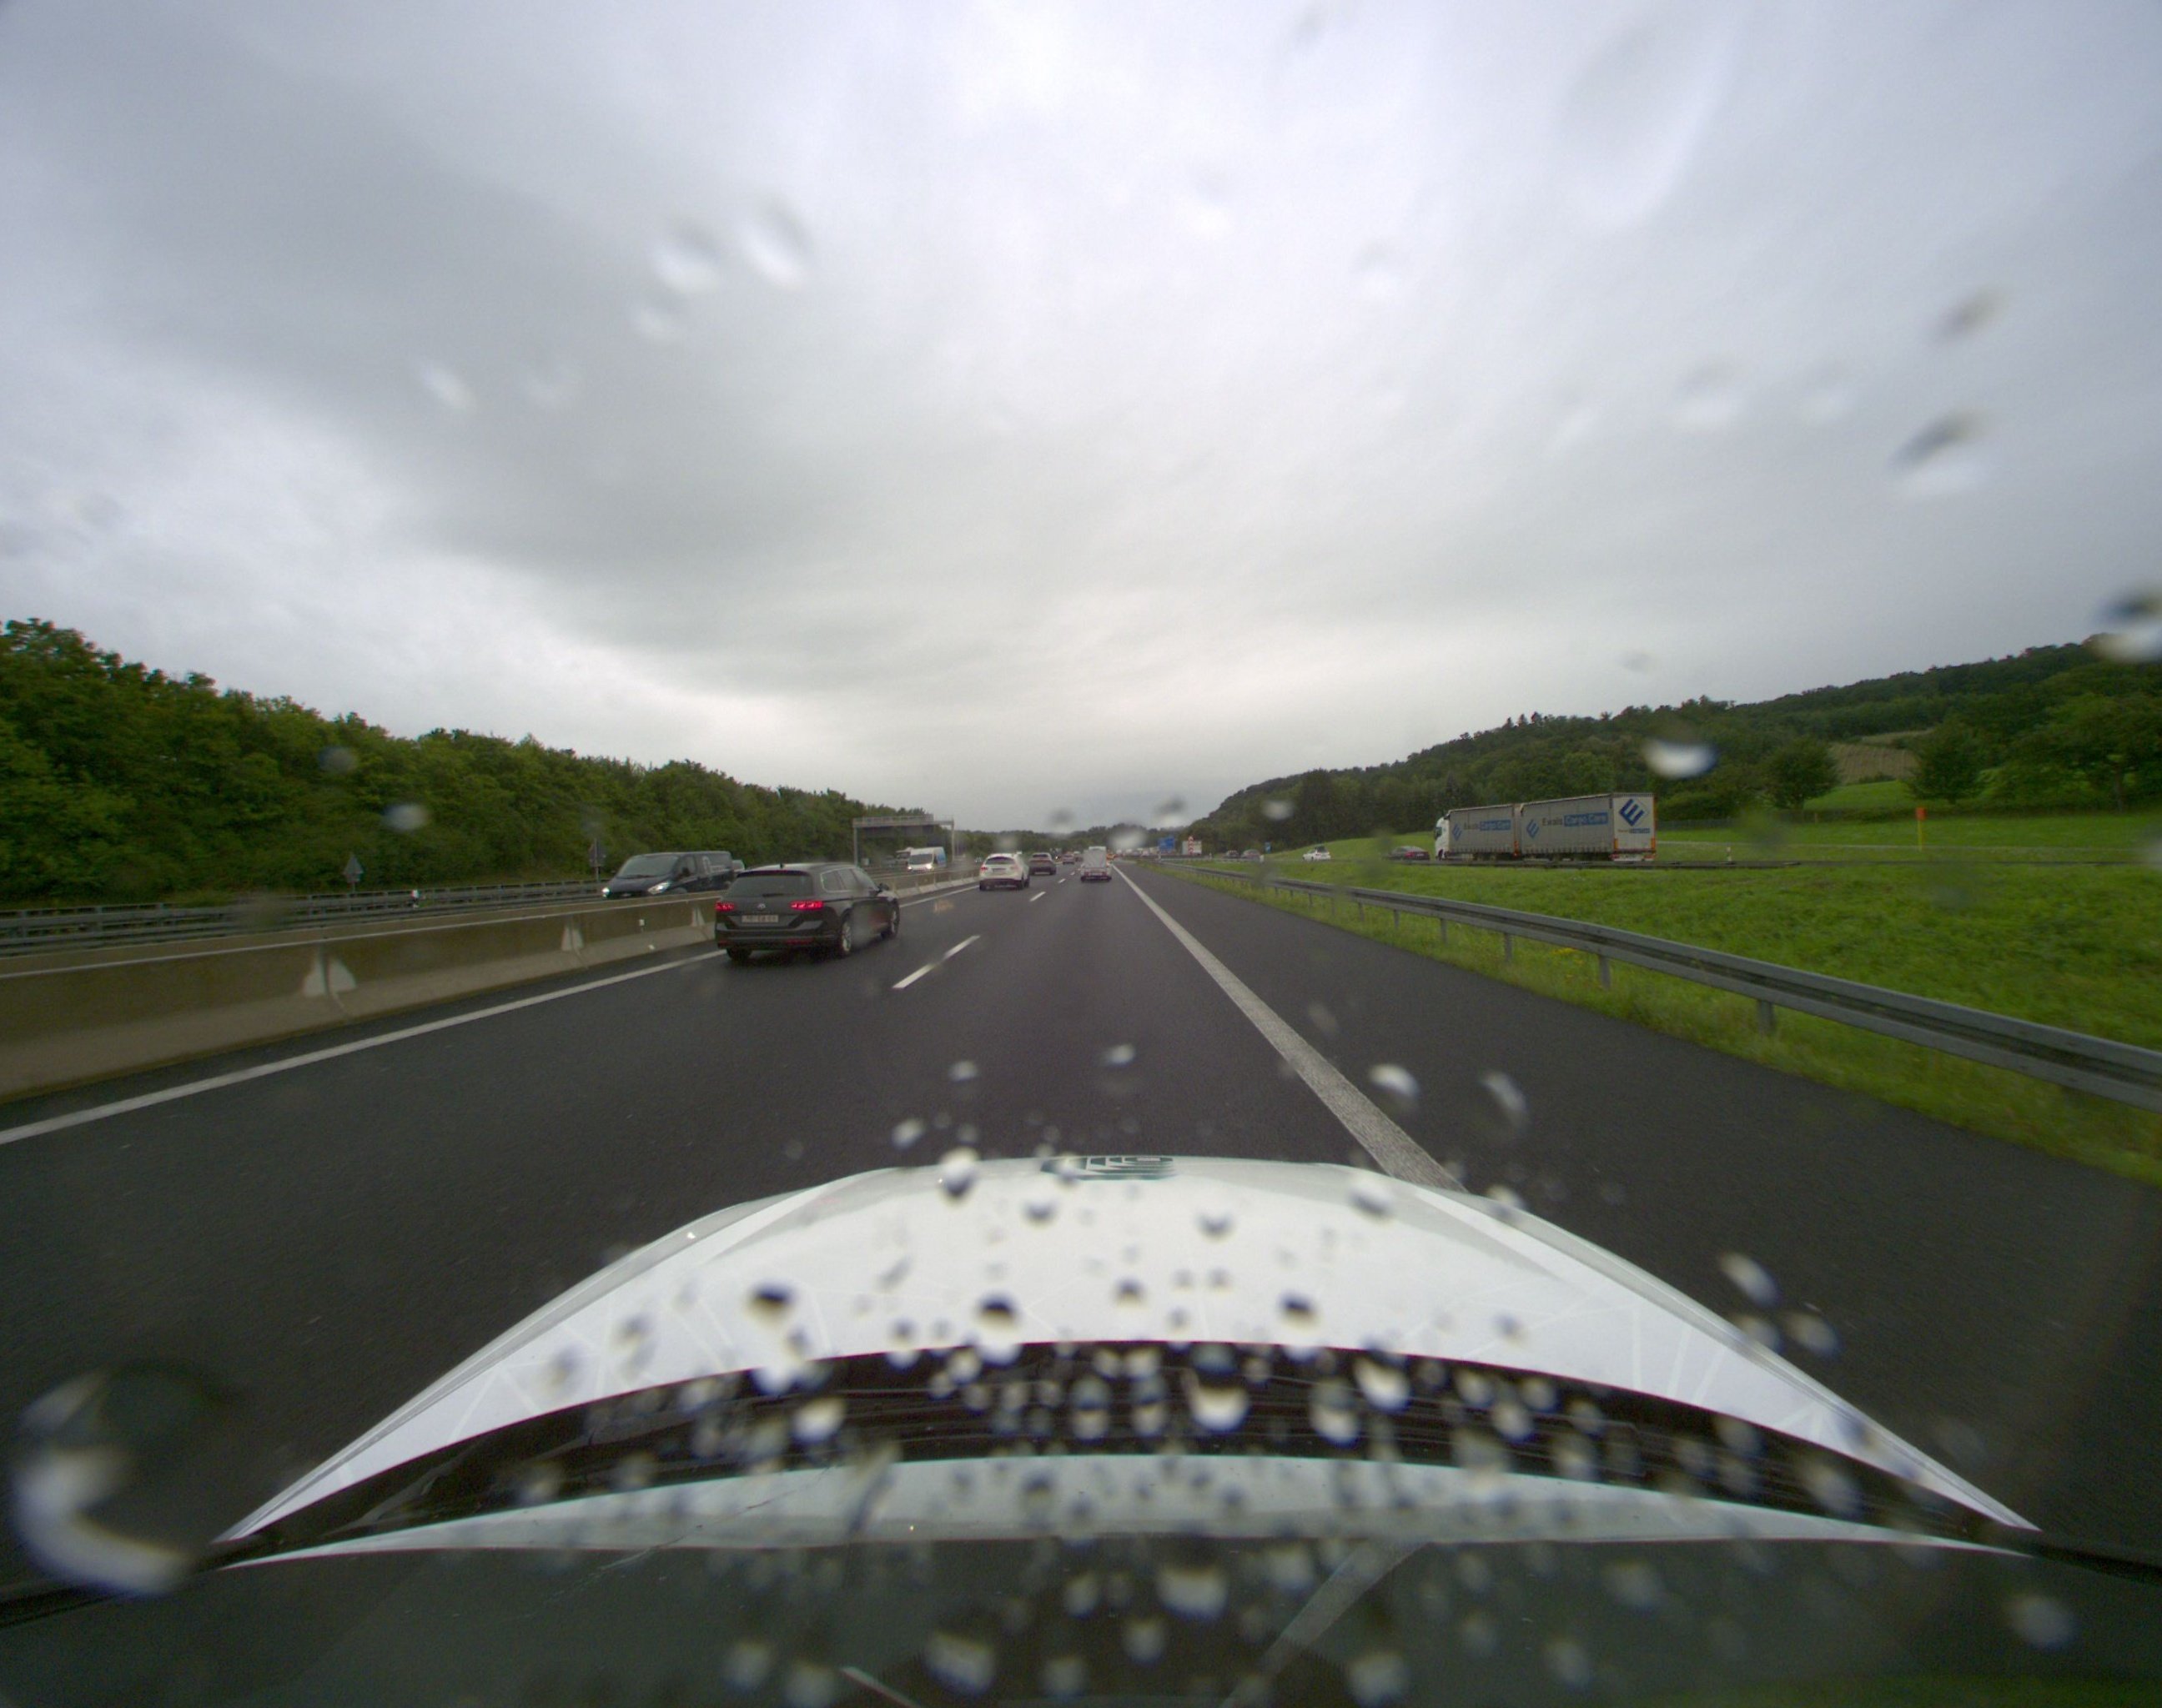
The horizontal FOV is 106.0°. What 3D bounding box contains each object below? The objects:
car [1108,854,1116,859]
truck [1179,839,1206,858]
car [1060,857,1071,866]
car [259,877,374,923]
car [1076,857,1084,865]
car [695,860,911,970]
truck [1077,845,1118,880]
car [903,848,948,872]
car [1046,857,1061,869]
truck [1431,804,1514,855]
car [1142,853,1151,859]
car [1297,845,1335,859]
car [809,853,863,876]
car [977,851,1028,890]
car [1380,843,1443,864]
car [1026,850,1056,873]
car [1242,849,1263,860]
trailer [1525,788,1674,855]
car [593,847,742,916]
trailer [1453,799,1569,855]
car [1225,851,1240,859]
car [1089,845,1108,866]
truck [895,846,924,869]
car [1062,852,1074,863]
[{"bbox_3d":[9.134,0.734,240.114,1.989,1.552,3.995,0,0,-4],"label":"car"},{"bbox_3d":[21.325,-1.000,156.188,3.816,3.659,8.264,0,0,-2],"label":"truck"},{"bbox_3d":[-2.922,1.423,152.302,1.812,1.662,4.019,-2,0,2],"label":"car"},{"bbox_3d":[-37.809,2.218,40.416,1.743,2.013,4.002,-2,0,2],"label":"car"},{"bbox_3d":[-0.195,1.455,170.771,1.639,1.574,4.002,0,0,2],"label":"car"},{"bbox_3d":[-4.336,0.863,13.623,1.780,1.459,4.805,-1,0,2],"label":"car"},{"bbox_3d":[0.929,0.470,47.679,2.234,1.839,6.585,-1,0,1],"label":"truck"},{"bbox_3d":[-12.083,0.433,63.632,2.350,1.693,5.905,-2,0,0],"label":"car"},{"bbox_3d":[-3.905,1.280,117.116,1.812,1.662,4.019,-2,0,2],"label":"car"},{"bbox_3d":[28.659,-1.725,59.919,2.933,3.527,5.917,0,0,-5],"label":"truck"},{"bbox_3d":[17.268,0.519,215.237,1.988,1.552,3.996,0,0,-2],"label":"car"},{"bbox_3d":[24.875,-0.194,86.408,1.984,1.377,5.067,-2,0,-6],"label":"car"},{"bbox_3d":[-15.729,0.645,52.624,1.986,1.435,4.680,0,0,1],"label":"car"},{"bbox_3d":[-3.555,0.720,37.661,2.043,1.670,4.537,-1,0,-2],"label":"car"},{"bbox_3d":[23.174,-0.014,57.379,1.982,1.377,5.312,-1,0,-4],"label":"car"},{"bbox_3d":[-3.051,0.534,63.468,1.969,1.703,4.803,-1,0,1],"label":"car"},{"bbox_3d":[20.521,0.112,97.696,1.536,1.288,3.529,0,0,-4],"label":"car"},{"bbox_3d":[29.815,-1.731,47.378,3.073,3.527,8.069,0,0,-5],"label":"trailer"},{"bbox_3d":[-12.046,0.731,24.138,1.987,1.836,4.679,0,0,0],"label":"car"},{"bbox_3d":[29.066,-1.699,55.621,2.933,3.527,8.405,0,0,-5],"label":"trailer"},{"bbox_3d":[22.899,0.152,123.089,1.691,1.288,3.535,0,0,0],"label":"car"},{"bbox_3d":[2.403,0.176,111.555,2.325,2.725,6.537,-1,0,-1],"label":"car"},{"bbox_3d":[-28.716,0.543,136.905,2.676,3.661,9.558,-2,0,1],"label":"truck"},{"bbox_3d":[-2.016,0.566,129.232,1.732,1.794,4.001,-1,0,1],"label":"car"}]
